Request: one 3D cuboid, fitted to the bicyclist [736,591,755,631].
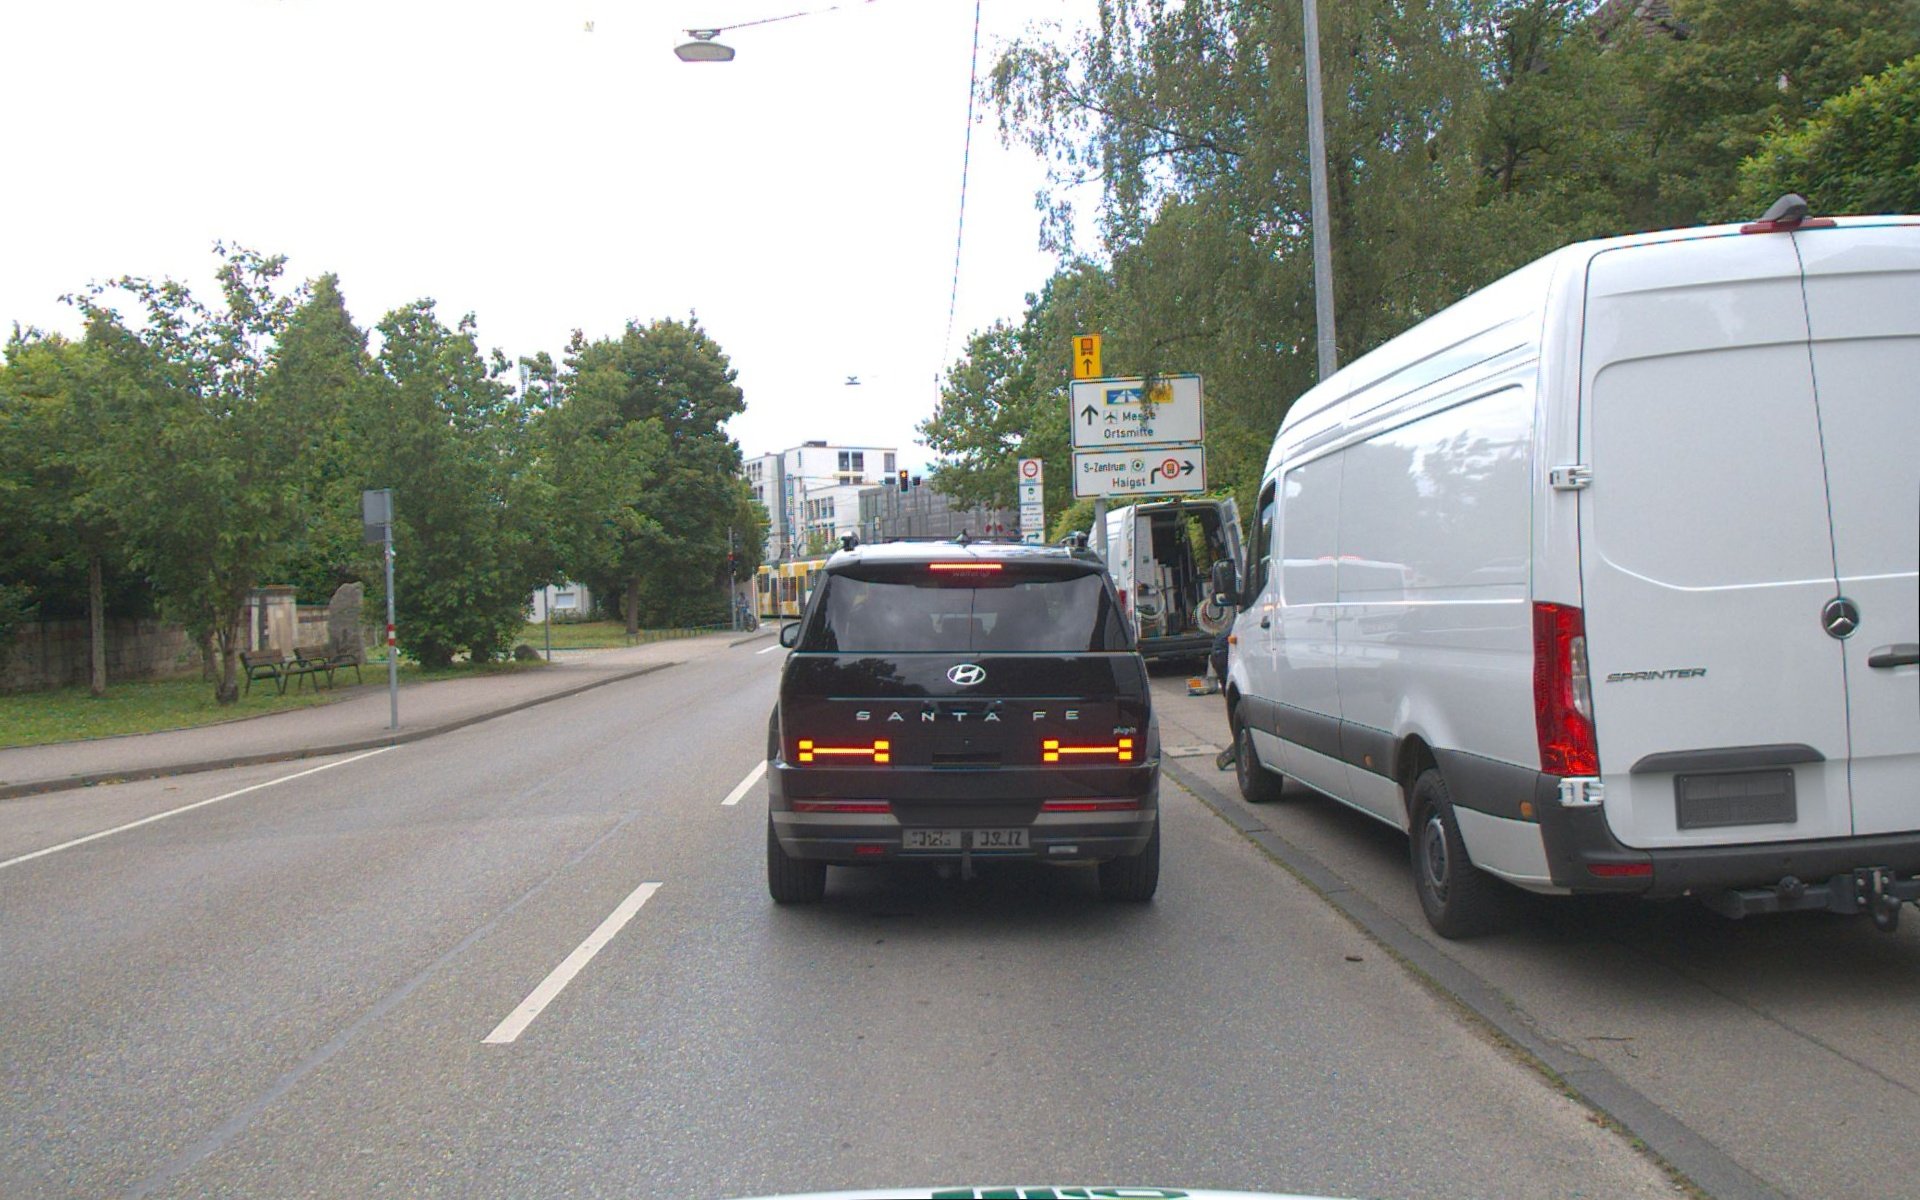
[{"bbox_3d":[-9.129,0.470,70.343,0.664,1.688,0.855,0,-2,-15],"label":"bicyclist"}]

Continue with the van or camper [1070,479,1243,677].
[{"bbox_3d":[3.113,-0.351,27.376,1.924,2.845,5.285,-4,0,-2],"label":"van or camper"}]

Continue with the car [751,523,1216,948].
[{"bbox_3d":[0.048,0.547,8.895,1.924,1.741,3.999,-1,0,-2],"label":"car"}]

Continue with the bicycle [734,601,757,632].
[{"bbox_3d":[-9.121,0.707,70.309,0.664,1.302,2.491,0,-1,-14],"label":"bicycle"}]

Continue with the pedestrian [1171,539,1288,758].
[{"bbox_3d":[2.278,0.404,13.997,0.610,1.773,0.600,-5,0,-28],"label":"pedestrian"}]

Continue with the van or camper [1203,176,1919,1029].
[{"bbox_3d":[2.857,-0.044,8.543,1.924,2.673,6.356,-4,0,-2],"label":"van or camper"}]

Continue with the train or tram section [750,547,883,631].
[{"bbox_3d":[-9.264,-0.456,103.117,3.148,4.602,18.560,0,-1,-21],"label":"train or tram section"}]

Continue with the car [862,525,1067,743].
[{"bbox_3d":[-0.011,0.308,17.636,1.924,2.036,3.999,-1,0,-2],"label":"car"}]
